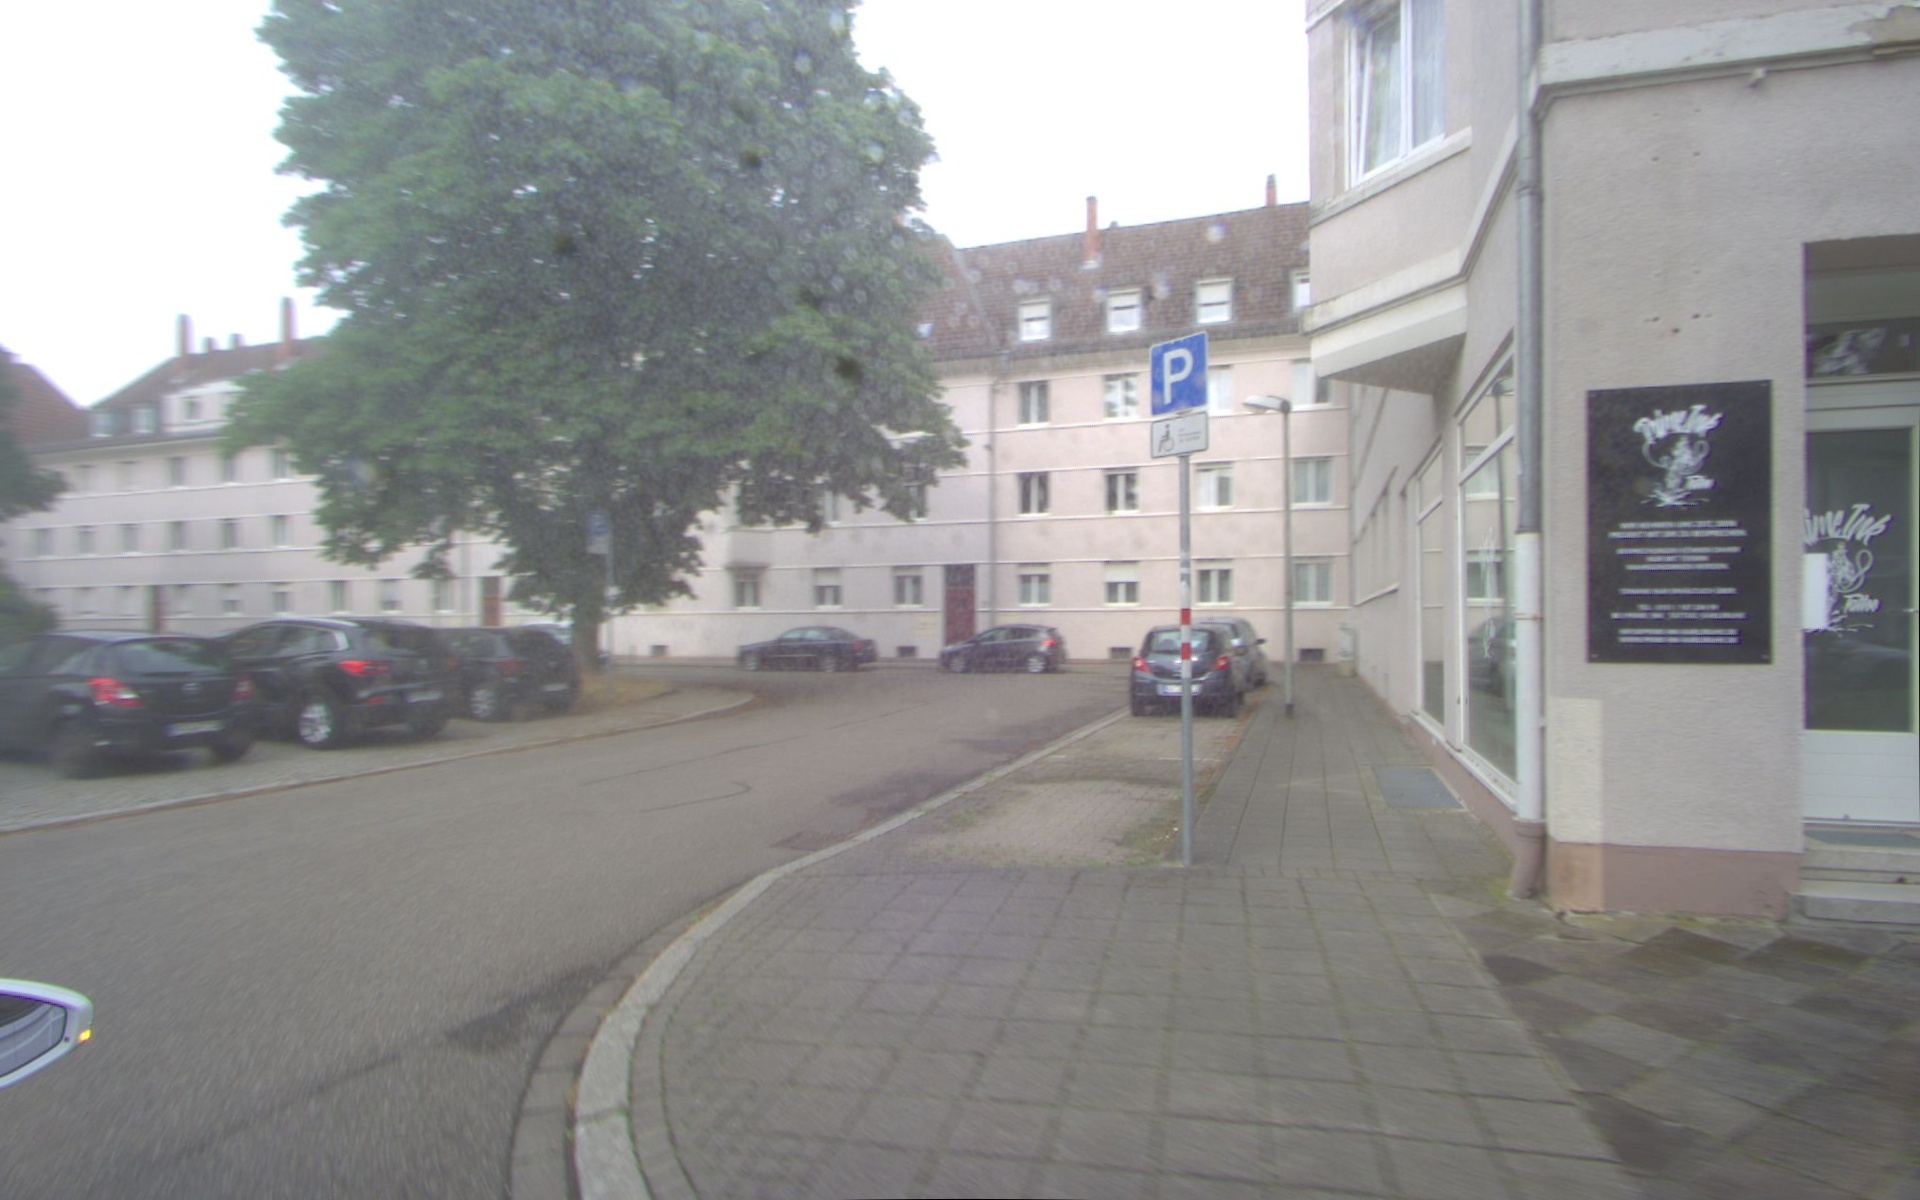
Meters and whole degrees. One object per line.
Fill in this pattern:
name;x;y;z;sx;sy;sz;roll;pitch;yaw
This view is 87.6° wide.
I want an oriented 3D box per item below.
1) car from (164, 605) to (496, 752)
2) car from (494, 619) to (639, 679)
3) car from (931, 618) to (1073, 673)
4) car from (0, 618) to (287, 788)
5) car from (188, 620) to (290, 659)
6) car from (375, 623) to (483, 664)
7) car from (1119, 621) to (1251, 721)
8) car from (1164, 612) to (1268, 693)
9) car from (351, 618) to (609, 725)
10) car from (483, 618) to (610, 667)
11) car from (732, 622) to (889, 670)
car;-8.560;0.960;13.631;4.000;1.719;1.911;1;-1;24
car;-10.495;1.291;26.731;3.531;1.512;1.527;0;-3;23
car;1.290;1.358;30.483;4.006;1.545;1.759;0;0;19
car;-10.010;1.038;11.451;4.284;1.586;1.836;1;-1;24
car;-30.607;1.664;42.503;3.759;1.545;1.698;0;0;21
car;-20.547;1.654;38.759;3.804;1.498;1.568;0;0;21
car;3.972;1.124;17.201;1.732;1.509;3.930;0;-1;20
car;5.891;1.128;22.708;1.733;1.648;4.190;0;-1;22
car;-7.989;1.116;16.692;3.777;1.598;1.826;-1;0;23
car;-15.439;1.547;37.433;4.212;1.696;1.845;0;1;18
car;-4.903;1.471;32.851;4.862;1.440;1.747;0;0;19
